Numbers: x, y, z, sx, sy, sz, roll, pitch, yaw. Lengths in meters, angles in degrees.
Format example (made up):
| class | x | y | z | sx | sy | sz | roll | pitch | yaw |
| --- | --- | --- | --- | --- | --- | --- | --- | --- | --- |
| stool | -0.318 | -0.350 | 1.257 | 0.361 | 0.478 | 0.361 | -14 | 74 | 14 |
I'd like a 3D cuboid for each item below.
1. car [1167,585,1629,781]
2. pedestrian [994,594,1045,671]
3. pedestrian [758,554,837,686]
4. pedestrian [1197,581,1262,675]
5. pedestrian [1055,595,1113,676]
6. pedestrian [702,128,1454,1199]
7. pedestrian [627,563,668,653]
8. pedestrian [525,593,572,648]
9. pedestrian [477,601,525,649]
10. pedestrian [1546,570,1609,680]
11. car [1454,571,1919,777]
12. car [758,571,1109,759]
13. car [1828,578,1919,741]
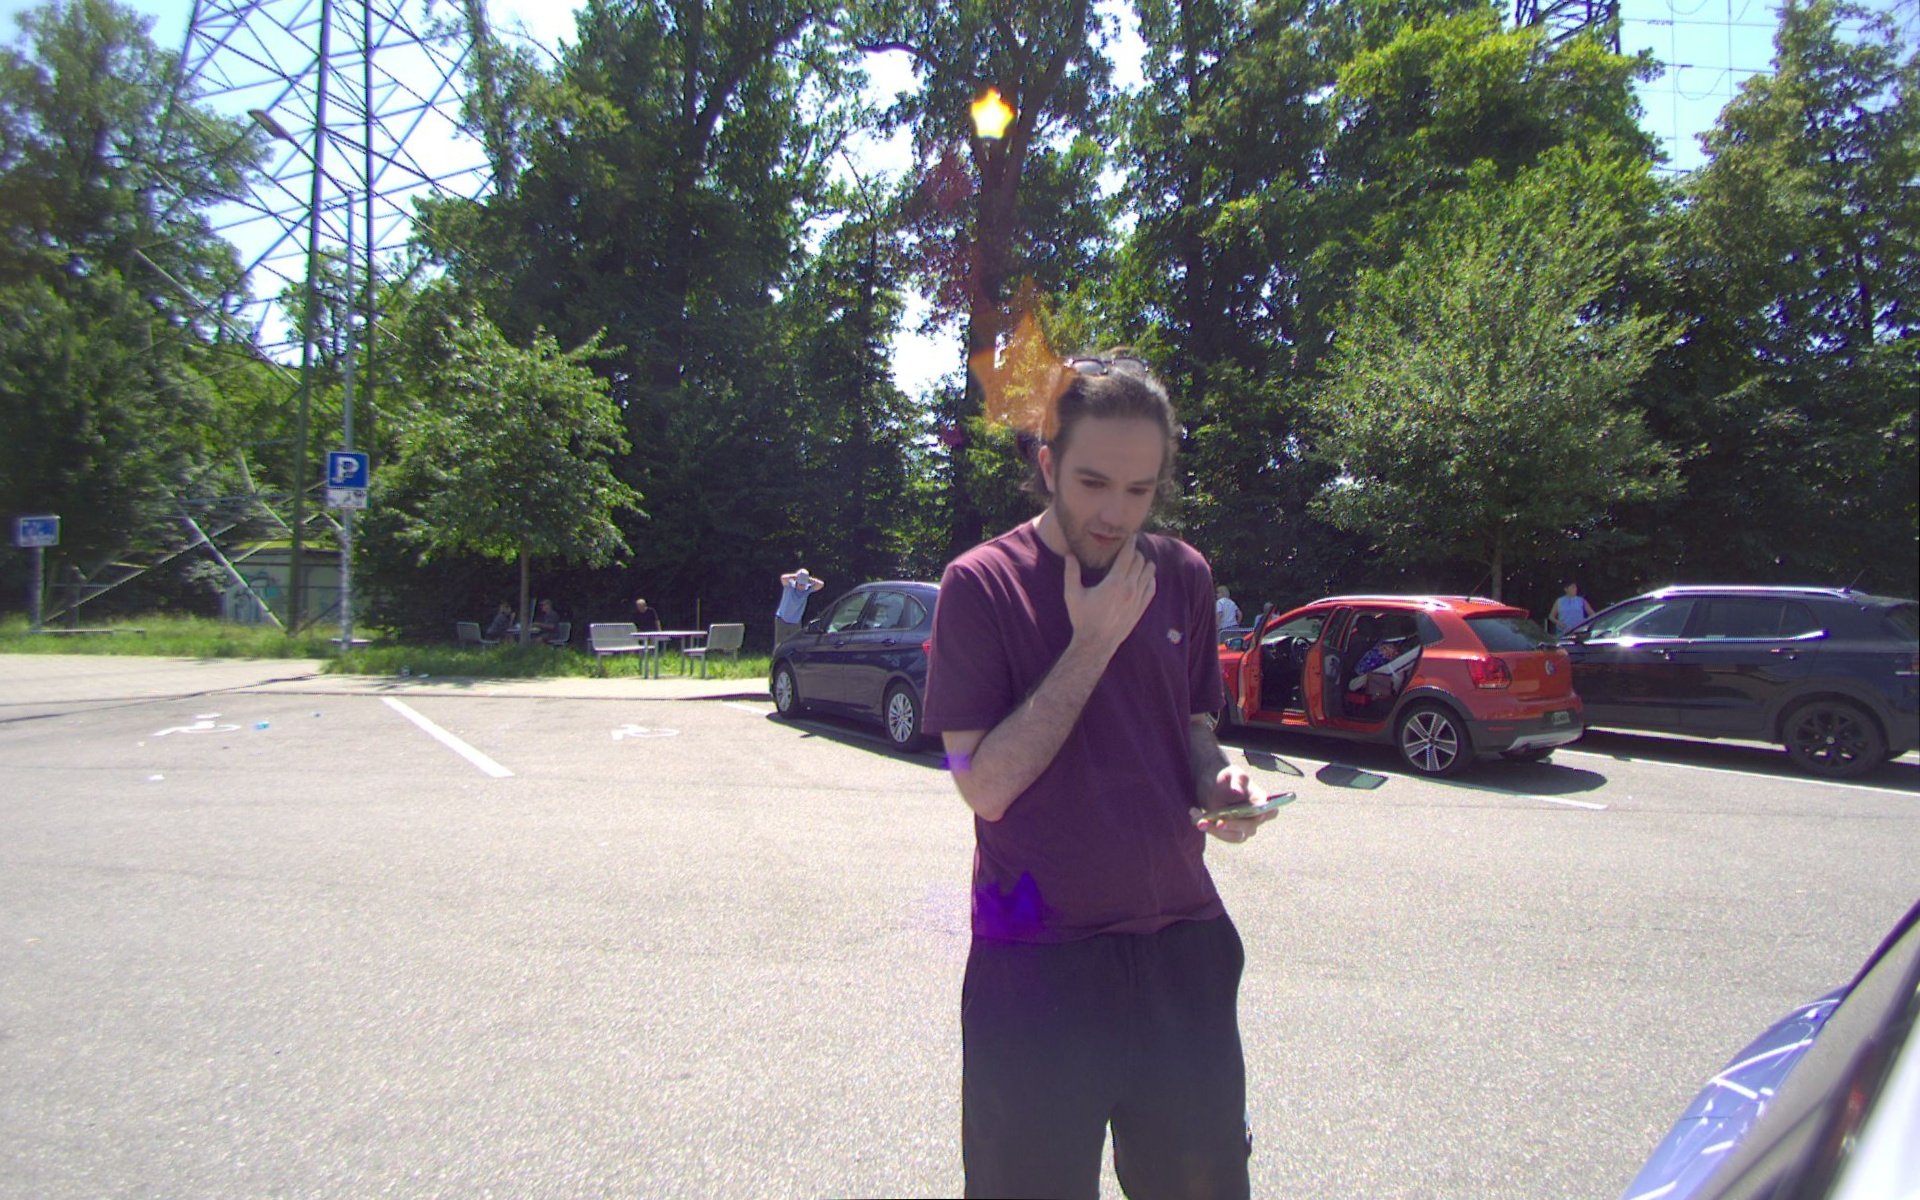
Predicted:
| class | x | y | z | sx | sy | sz | roll | pitch | yaw |
| --- | --- | --- | --- | --- | --- | --- | --- | --- | --- |
| car | 3.937 | 0.623 | 9.654 | 1.746 | 1.475 | 3.710 | 1 | 0 | -33 |
| pedestrian | 1.012 | 0.541 | 17.317 | 0.656 | 1.285 | 0.655 | 1 | -1 | -17 |
| pedestrian | -2.289 | 0.271 | 14.230 | 0.786 | 1.784 | 0.809 | 1 | -1 | -39 |
| pedestrian | 4.786 | 0.484 | 17.970 | 0.760 | 1.614 | 0.810 | 1 | -1 | -32 |
| pedestrian | 2.061 | 0.575 | 16.899 | 0.656 | 1.311 | 0.832 | 1 | -1 | -17 |
| pedestrian | 0.209 | 0.412 | 1.662 | 0.828 | 1.797 | 0.926 | 0 | -1 | 45 |
| pedestrian | -6.589 | 0.165 | 21.399 | 0.700 | 1.851 | 0.906 | 1 | -1 | -10 |
| pedestrian | -9.600 | 0.477 | 23.635 | 0.796 | 1.253 | 0.713 | 1 | -1 | -44 |
| pedestrian | -10.364 | 0.562 | 22.859 | 0.796 | 1.062 | 0.714 | 1 | -1 | -43 |
| pedestrian | 9.362 | 0.362 | 15.339 | 0.712 | 1.614 | 0.798 | 0 | -1 | 41 |
| car | 7.218 | 0.578 | 9.841 | 1.807 | 1.612 | 3.967 | 1 | 0 | -38 |
| car | -0.474 | 0.546 | 10.702 | 1.809 | 1.588 | 4.017 | 1 | 0 | -35 |
| car | 10.912 | 0.602 | 9.432 | 1.745 | 1.612 | 3.972 | 1 | 0 | -32 |
